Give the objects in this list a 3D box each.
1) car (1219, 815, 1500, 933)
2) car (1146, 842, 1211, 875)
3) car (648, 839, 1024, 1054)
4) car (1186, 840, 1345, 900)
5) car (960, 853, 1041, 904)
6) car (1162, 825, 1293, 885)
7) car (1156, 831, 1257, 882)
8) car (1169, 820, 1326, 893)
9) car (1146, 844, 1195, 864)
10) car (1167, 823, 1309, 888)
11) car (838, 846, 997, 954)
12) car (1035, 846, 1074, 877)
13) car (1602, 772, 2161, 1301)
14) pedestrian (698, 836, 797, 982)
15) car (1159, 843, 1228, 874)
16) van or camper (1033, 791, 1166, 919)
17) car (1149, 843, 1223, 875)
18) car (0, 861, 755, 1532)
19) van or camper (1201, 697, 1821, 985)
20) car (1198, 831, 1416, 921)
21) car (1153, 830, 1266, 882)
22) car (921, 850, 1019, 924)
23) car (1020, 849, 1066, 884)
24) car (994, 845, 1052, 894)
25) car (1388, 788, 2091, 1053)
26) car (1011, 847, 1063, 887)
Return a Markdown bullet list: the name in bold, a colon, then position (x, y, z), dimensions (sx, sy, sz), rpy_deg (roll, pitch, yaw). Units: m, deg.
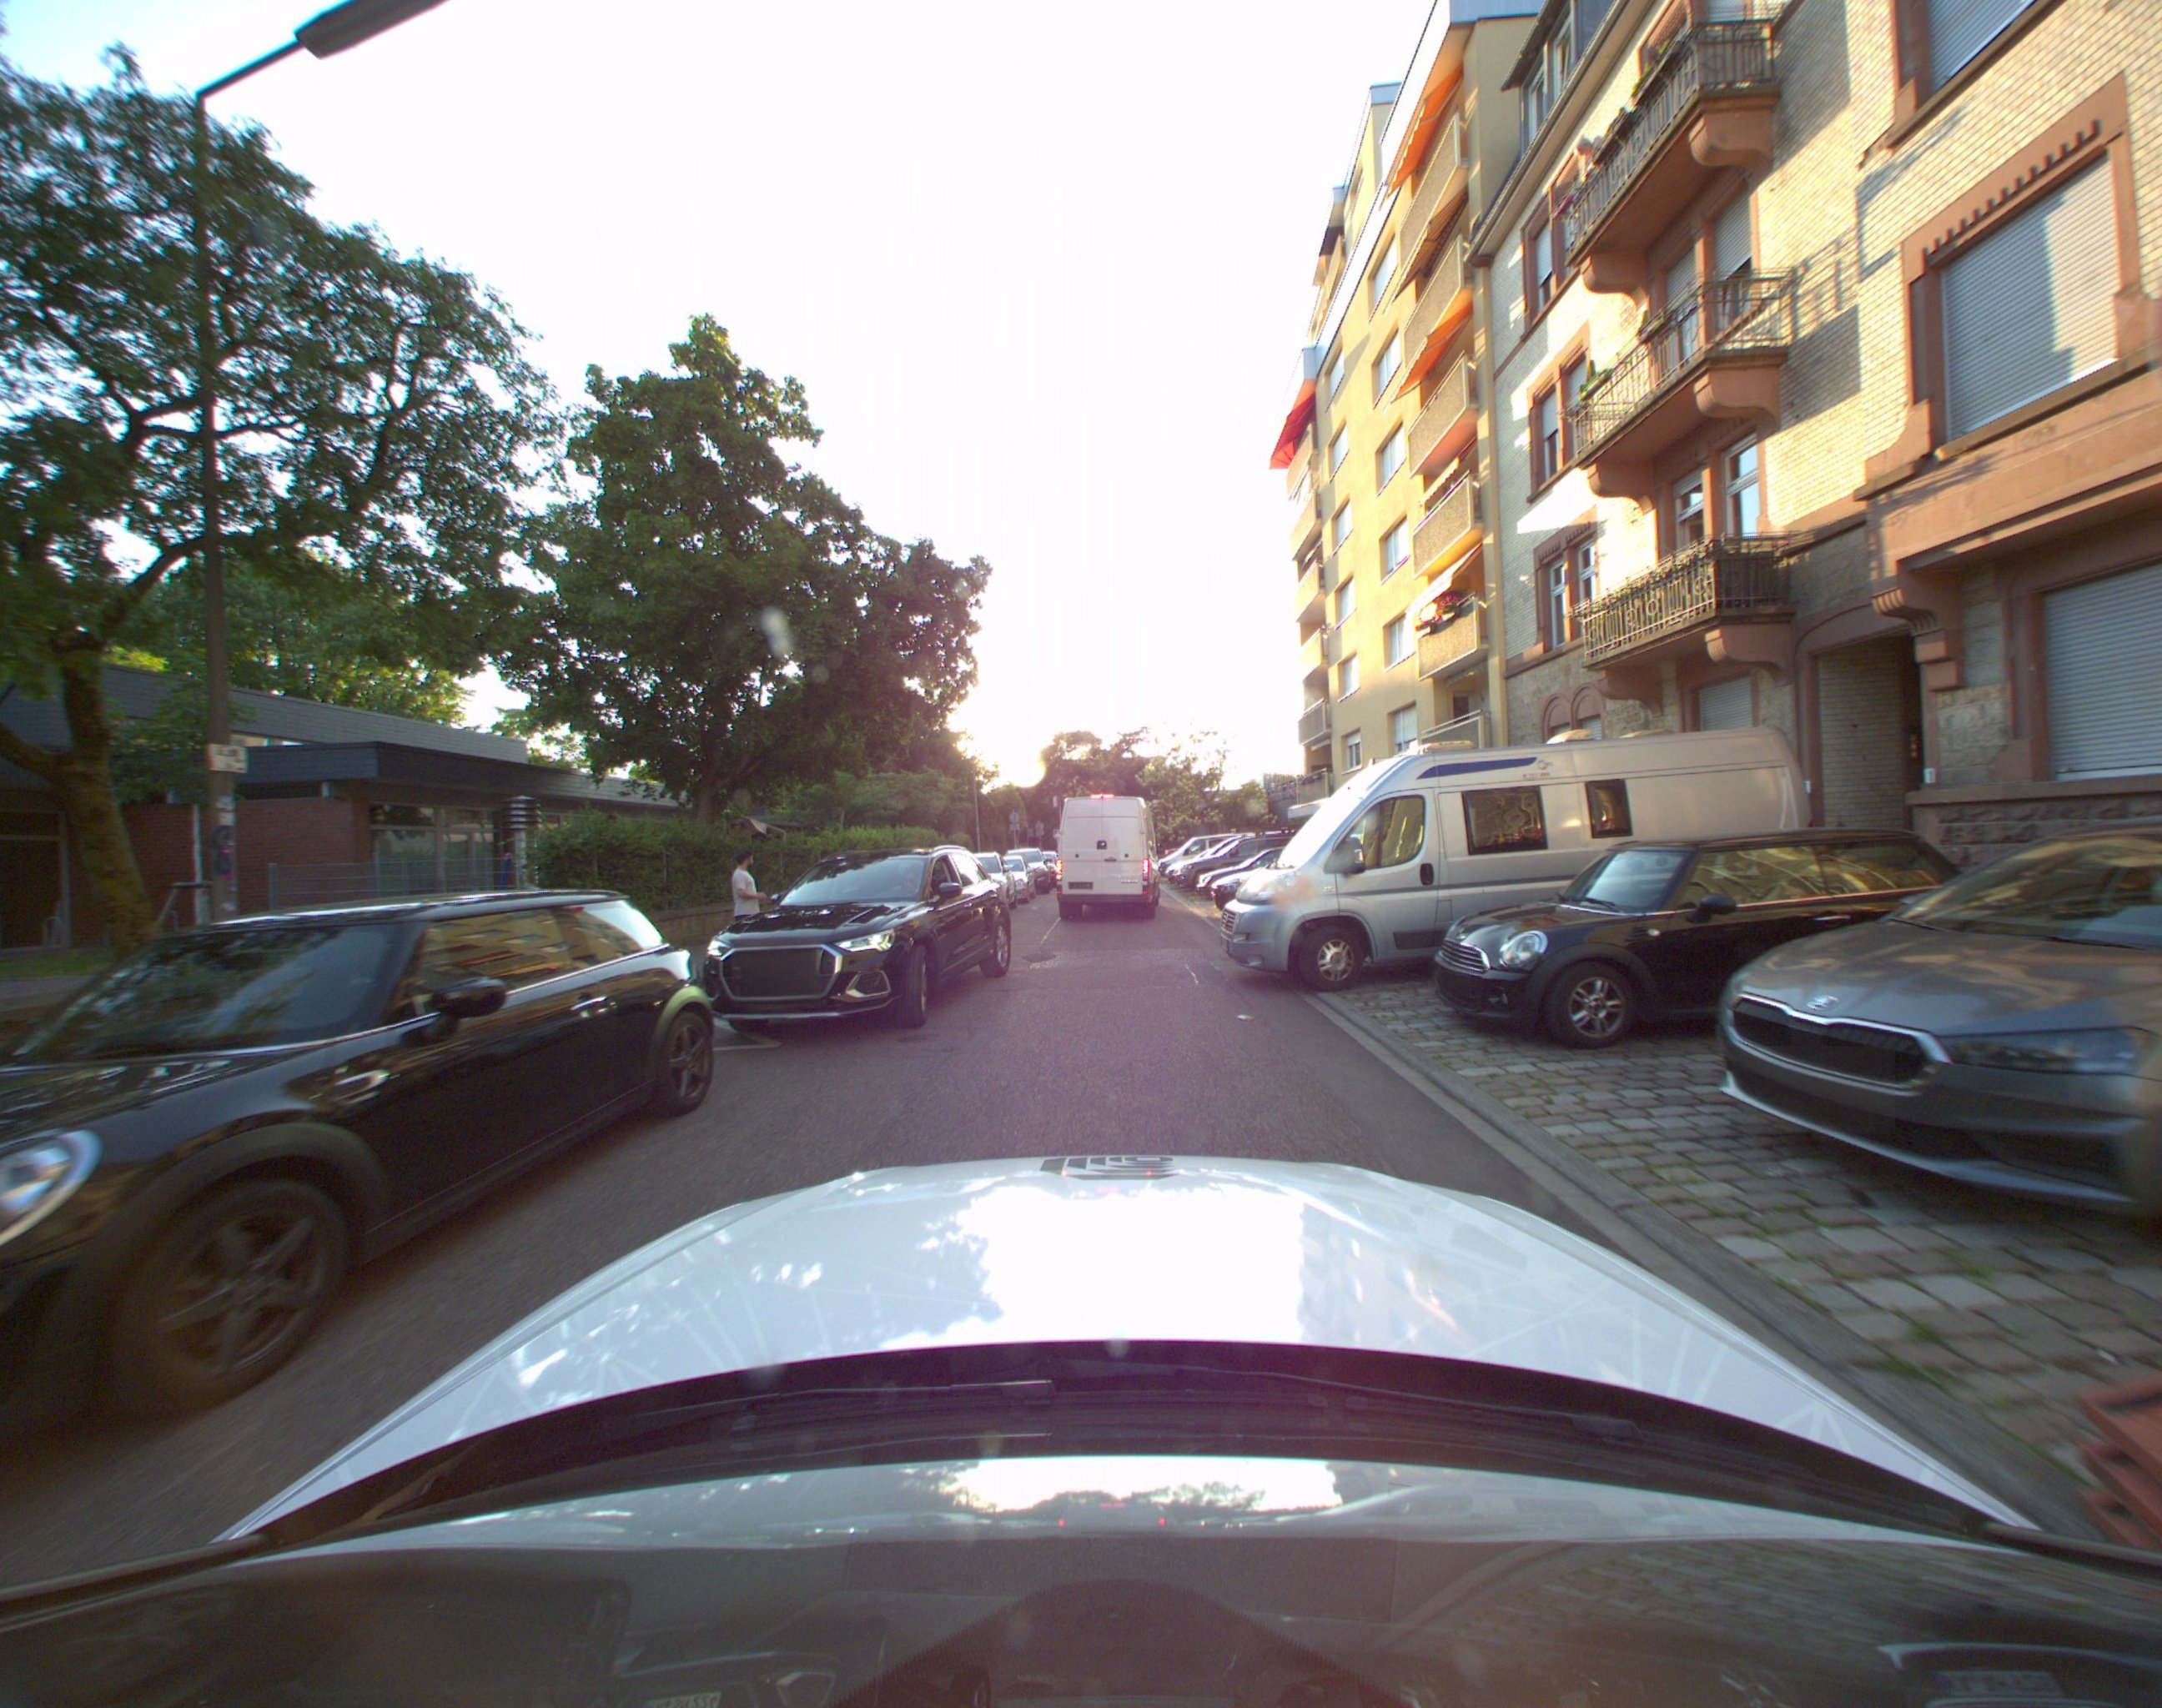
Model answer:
- **car**: position (4.917, 0.325, 14.721), dimensions (4.426, 1.728, 1.770), rpy_deg (-3, 0, -5)
- **car**: position (6.159, 0.274, 51.833), dimensions (3.970, 2.013, 2.002), rpy_deg (-1, 0, 3)
- **car**: position (-2.041, 0.695, 8.417), dimensions (1.793, 1.569, 4.577), rpy_deg (-3, 0, 9)
- **car**: position (5.327, 0.451, 23.883), dimensions (4.221, 1.425, 1.720), rpy_deg (-4, 0, 1)
- **car**: position (-2.419, 0.696, 25.515), dimensions (1.986, 1.398, 4.002), rpy_deg (-2, 0, 2)
- **car**: position (5.614, 0.032, 31.633), dimensions (4.690, 2.145, 2.000), rpy_deg (-1, 0, 0)
- **car**: position (5.875, 0.124, 38.495), dimensions (4.479, 2.230, 2.033), rpy_deg (-1, 0, 1)
- **car**: position (5.313, 0.072, 26.478), dimensions (4.690, 2.145, 2.000), rpy_deg (-1, 0, 0)
- **car**: position (7.842, -0.040, 71.653), dimensions (3.976, 1.618, 1.999), rpy_deg (-1, 0, -2)
- **car**: position (5.535, 0.050, 29.206), dimensions (4.690, 2.145, 2.000), rpy_deg (-1, 0, 0)
- **car**: position (-2.857, 0.735, 15.188), dimensions (1.775, 1.631, 4.005), rpy_deg (-4, 0, 4)
- **car**: position (-1.447, 0.387, 45.967), dimensions (1.987, 1.618, 4.000), rpy_deg (-1, 0, 0)
- **car**: position (4.923, 0.407, 3.544), dimensions (3.978, 1.515, 2.018), rpy_deg (-5, 0, -3)
- **pedestrian**: position (-4.375, 0.693, 10.746), dimensions (0.934, 1.830, 0.787), rpy_deg (-1, 0, 0)
- **car**: position (6.760, 0.250, 49.387), dimensions (3.971, 1.728, 2.001), rpy_deg (-1, 0, 2)
- **van or camper**: position (0.670, -0.004, 19.363), dimensions (2.440, 2.547, 6.097), rpy_deg (0, 0, 8)
- **car**: position (5.928, 0.278, 46.370), dimensions (3.971, 1.728, 2.001), rpy_deg (-1, 0, 2)
- **car**: position (-3.236, 0.859, 3.687), dimensions (1.630, 1.478, 3.996), rpy_deg (-4, 0, 3)
- **van or camper**: position (4.482, -0.131, 9.271), dimensions (5.908, 2.769, 2.110), rpy_deg (-1, 0, 1)
- **car**: position (4.650, 0.429, 17.170), dimensions (3.977, 1.453, 1.834), rpy_deg (-5, 0, -2)
- **car**: position (5.668, 0.095, 36.314), dimensions (4.690, 2.145, 2.000), rpy_deg (-1, 0, 0)
- **car**: position (-2.653, 0.726, 20.418), dimensions (1.850, 1.554, 4.098), rpy_deg (-4, 0, -1)
- **car**: position (-1.831, 0.563, 40.254), dimensions (1.987, 1.618, 4.000), rpy_deg (-1, 0, 0)
- **car**: position (-2.121, 0.526, 30.733), dimensions (1.988, 1.662, 3.997), rpy_deg (-2, 0, -2)
- **car**: position (4.734, 0.476, 6.390), dimensions (3.918, 1.486, 1.788), rpy_deg (-5, -1, 3)
- **car**: position (-1.888, 0.528, 35.939), dimensions (1.987, 1.618, 4.000), rpy_deg (-1, 0, 0)
